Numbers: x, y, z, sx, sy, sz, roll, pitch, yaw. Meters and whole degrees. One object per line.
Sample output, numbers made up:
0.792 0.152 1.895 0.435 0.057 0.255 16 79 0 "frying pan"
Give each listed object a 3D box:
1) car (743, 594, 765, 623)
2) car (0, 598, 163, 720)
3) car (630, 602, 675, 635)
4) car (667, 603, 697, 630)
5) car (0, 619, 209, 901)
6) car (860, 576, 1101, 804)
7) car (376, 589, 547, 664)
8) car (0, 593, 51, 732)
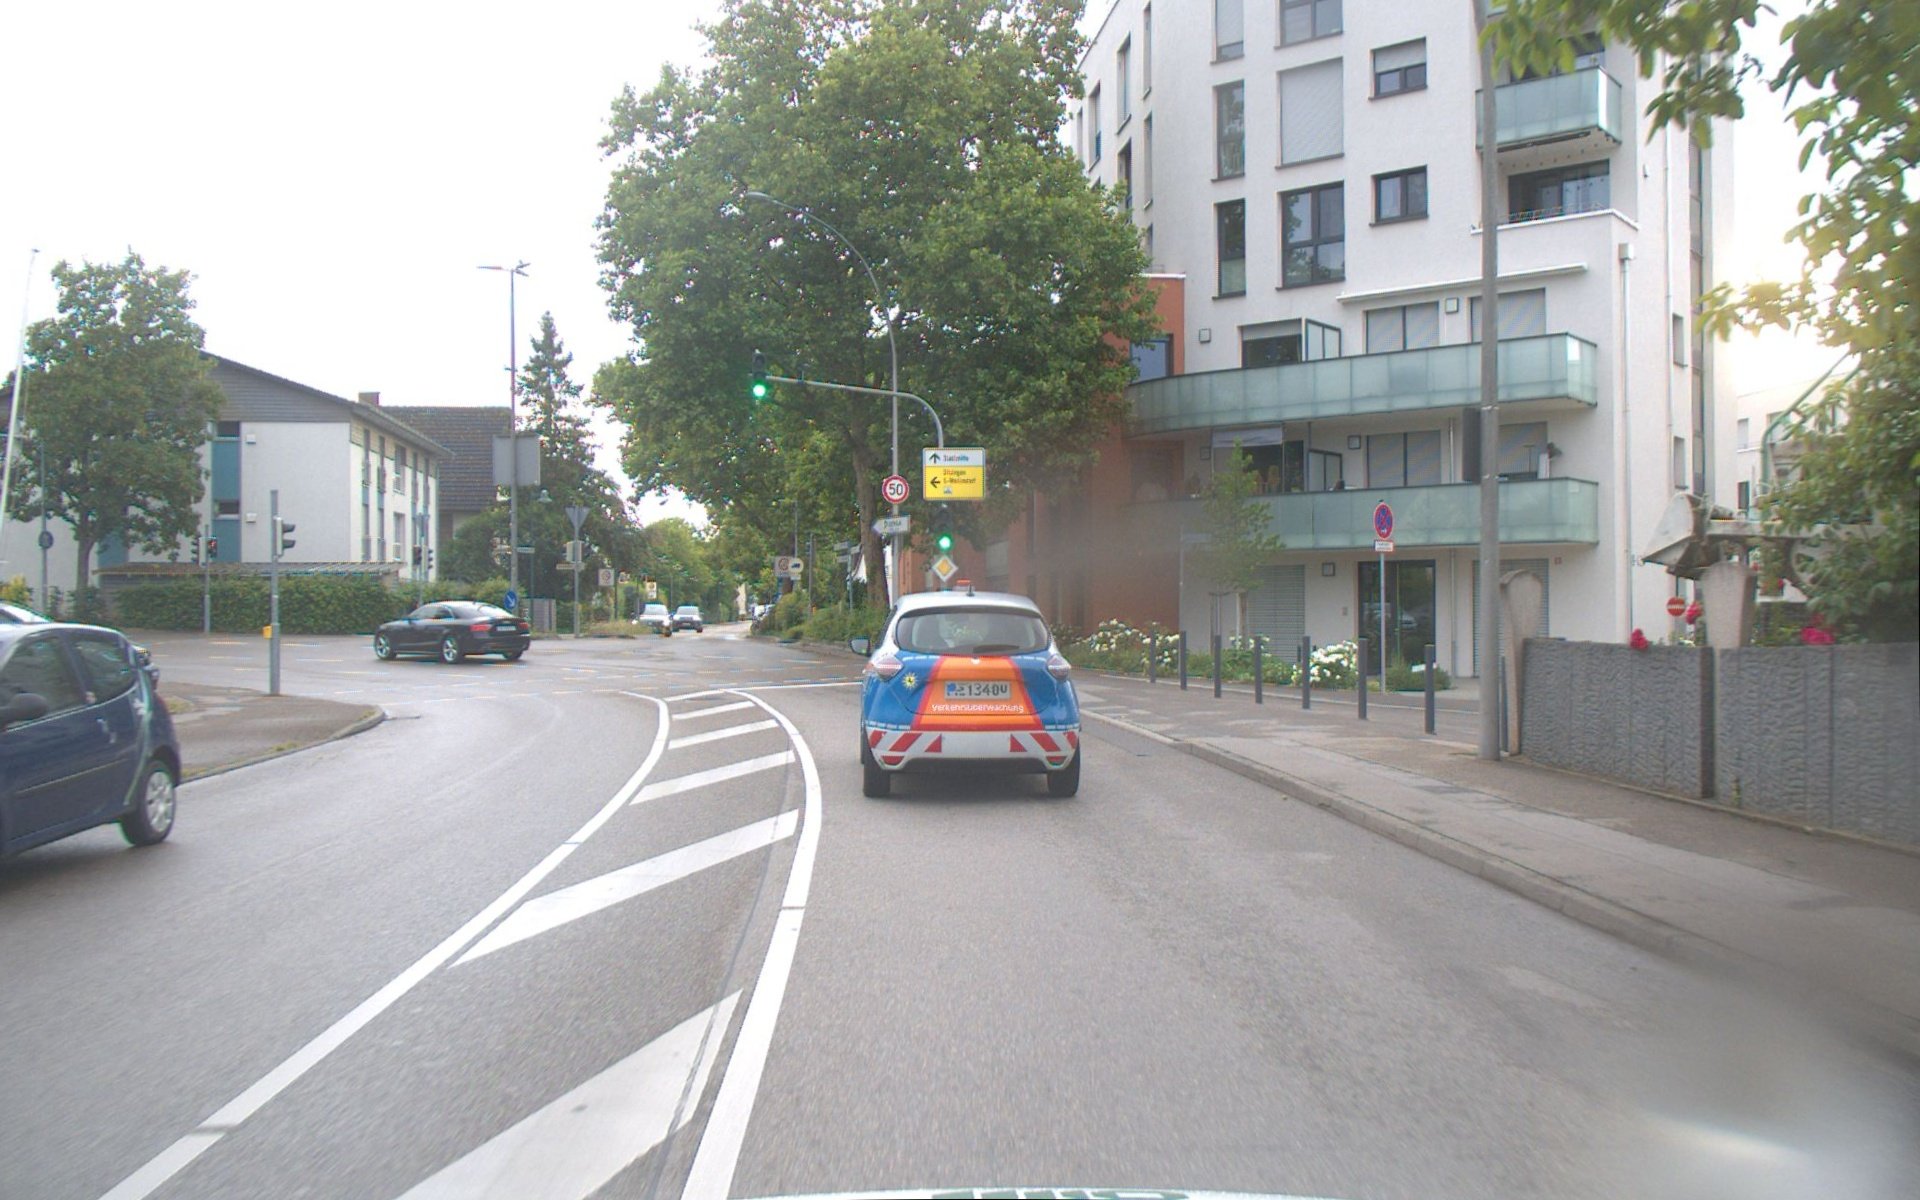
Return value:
-15.207 0.614 122.202 1.612 2.052 3.709 0 1 -7 "car"
-13.038 0.772 22.265 3.881 1.557 1.616 1 1 -15 "car"
-14.445 0.855 77.924 1.906 1.477 4.290 1 -1 -9 "car"
-18.104 1.090 107.723 1.843 1.698 3.705 0 0 -10 "car"
-5.948 0.880 9.648 1.594 1.458 3.681 -1 0 -3 "car"
0.032 0.620 13.965 1.711 1.608 3.997 -1 1 -4 "car"
-11.731 0.568 38.842 3.924 1.601 1.991 2 1 39 "car"
-12.898 0.697 19.064 3.869 1.557 1.690 1 1 -5 "car"
